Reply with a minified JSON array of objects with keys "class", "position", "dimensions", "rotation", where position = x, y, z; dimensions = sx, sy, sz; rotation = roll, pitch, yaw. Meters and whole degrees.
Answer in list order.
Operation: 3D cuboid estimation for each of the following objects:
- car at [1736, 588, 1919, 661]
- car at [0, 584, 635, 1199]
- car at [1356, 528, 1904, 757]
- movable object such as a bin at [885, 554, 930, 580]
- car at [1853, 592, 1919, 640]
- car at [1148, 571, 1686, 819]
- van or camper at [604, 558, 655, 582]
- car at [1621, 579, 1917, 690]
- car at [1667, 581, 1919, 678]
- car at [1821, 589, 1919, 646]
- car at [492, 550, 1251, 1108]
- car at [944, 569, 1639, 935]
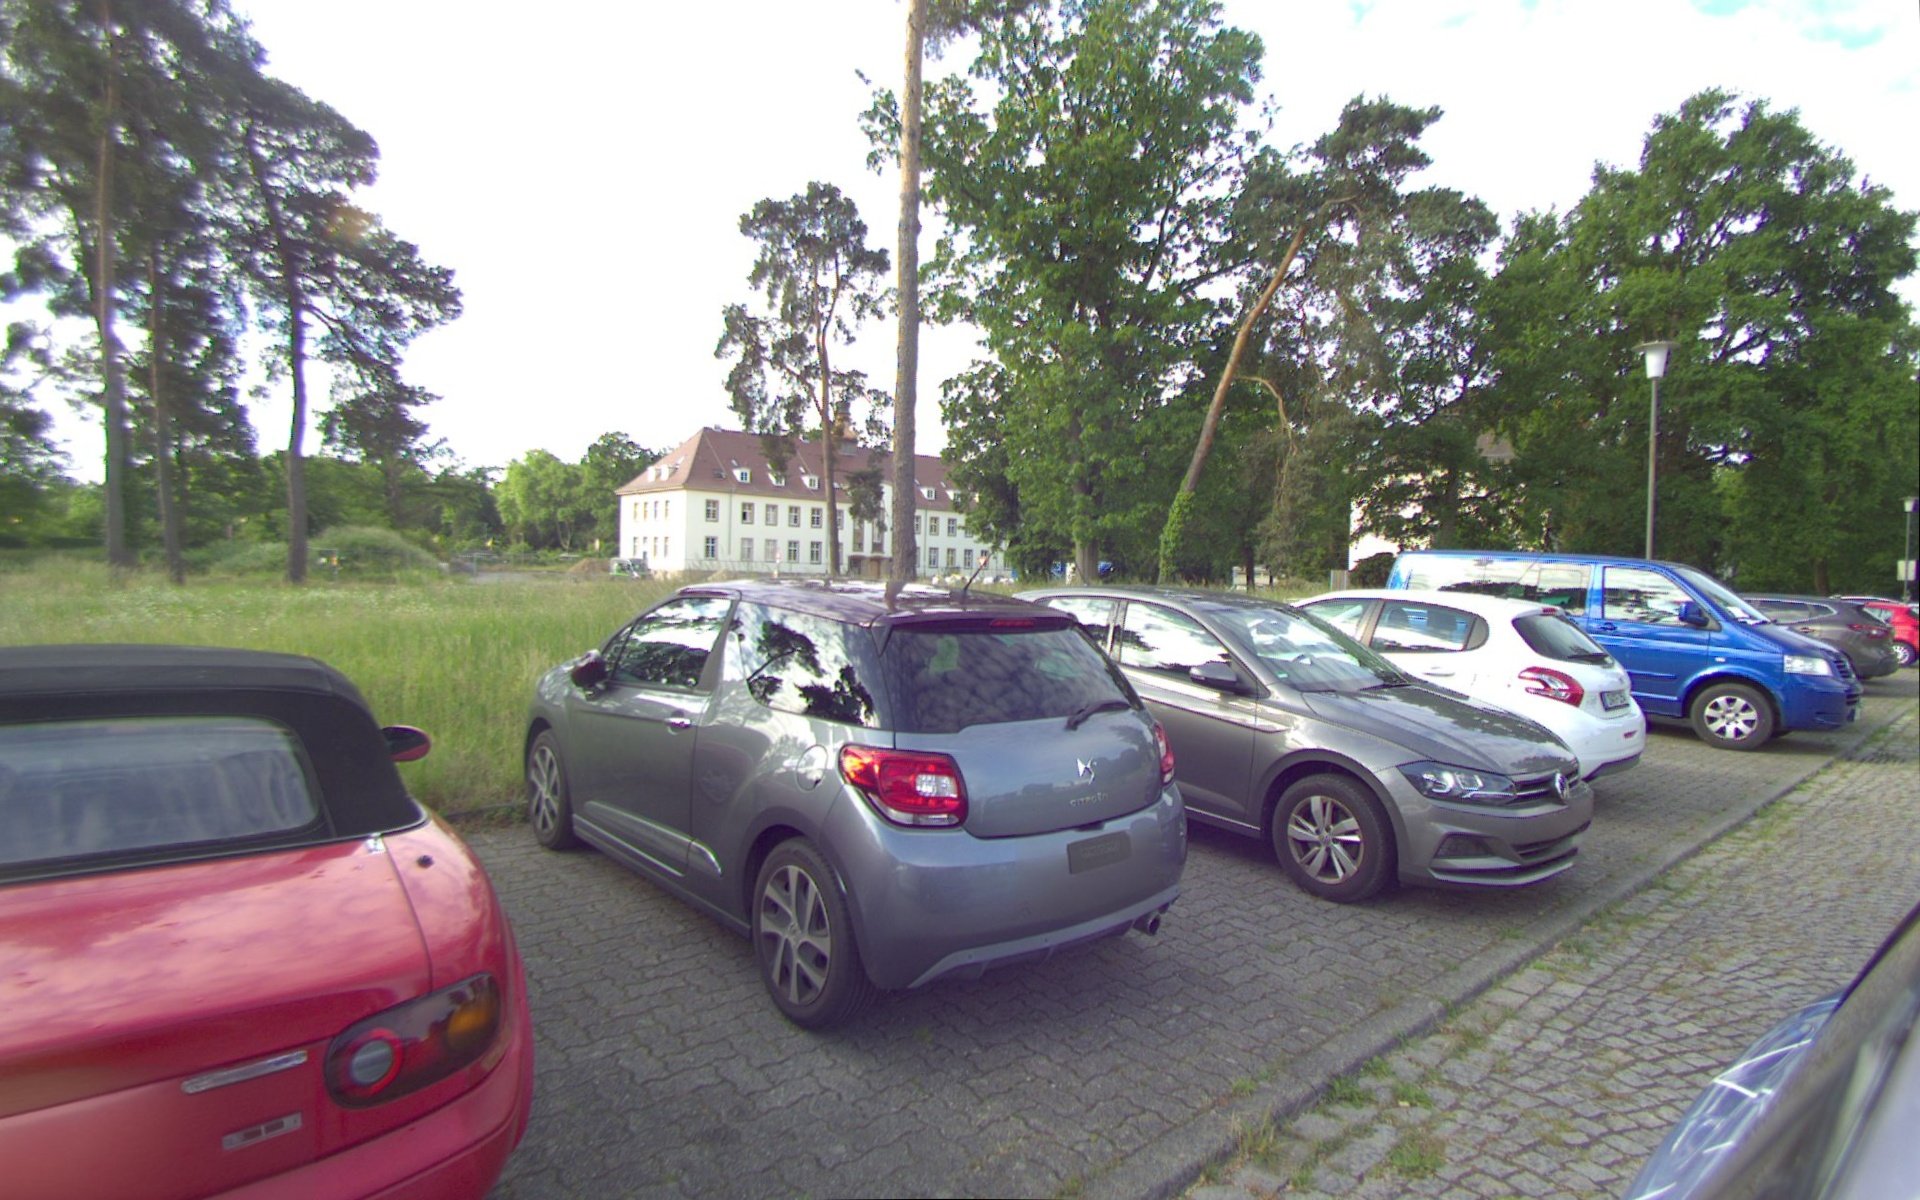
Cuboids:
[{"class":"car","position":[21.398,0.547,24.607],"dimensions":[1.555,1.544,3.831],"rotation":[0,2,-44]},{"class":"car","position":[-2.311,0.667,2.743],"dimensions":[1.579,1.302,3.556],"rotation":[-1,3,-39]},{"class":"car","position":[7.571,0.264,11.965],"dimensions":[2.024,2.047,4.955],"rotation":[0,4,-40]},{"class":"movable object such as a bin","position":[-5.912,-3.746,115.138],"dimensions":[1.994,2.802,5.122],"rotation":[3,2,43]},{"class":"car","position":[32.909,0.565,34.180],"dimensions":[1.642,1.548,3.840],"rotation":[0,2,-36]},{"class":"car","position":[3.543,0.568,8.420],"dimensions":[1.553,1.517,3.762],"rotation":[0,2,-39]},{"class":"van or camper","position":[-31.902,-2.902,97.647],"dimensions":[6.062,2.250,1.969],"rotation":[3,2,43]},{"class":"car","position":[13.934,0.504,17.589],"dimensions":[1.555,1.621,3.831],"rotation":[0,2,-44]},{"class":"car","position":[16.026,0.492,19.561],"dimensions":[1.555,1.621,3.627],"rotation":[0,2,-44]},{"class":"car","position":[29.211,0.551,31.171],"dimensions":[1.551,1.638,3.840],"rotation":[0,2,-36]},{"class":"car","position":[-0.765,0.554,4.733],"dimensions":[1.576,1.522,3.835],"rotation":[0,2,-41]},{"class":"car","position":[1.705,0.593,6.230],"dimensions":[1.613,1.483,3.781],"rotation":[0,2,-39]}]
